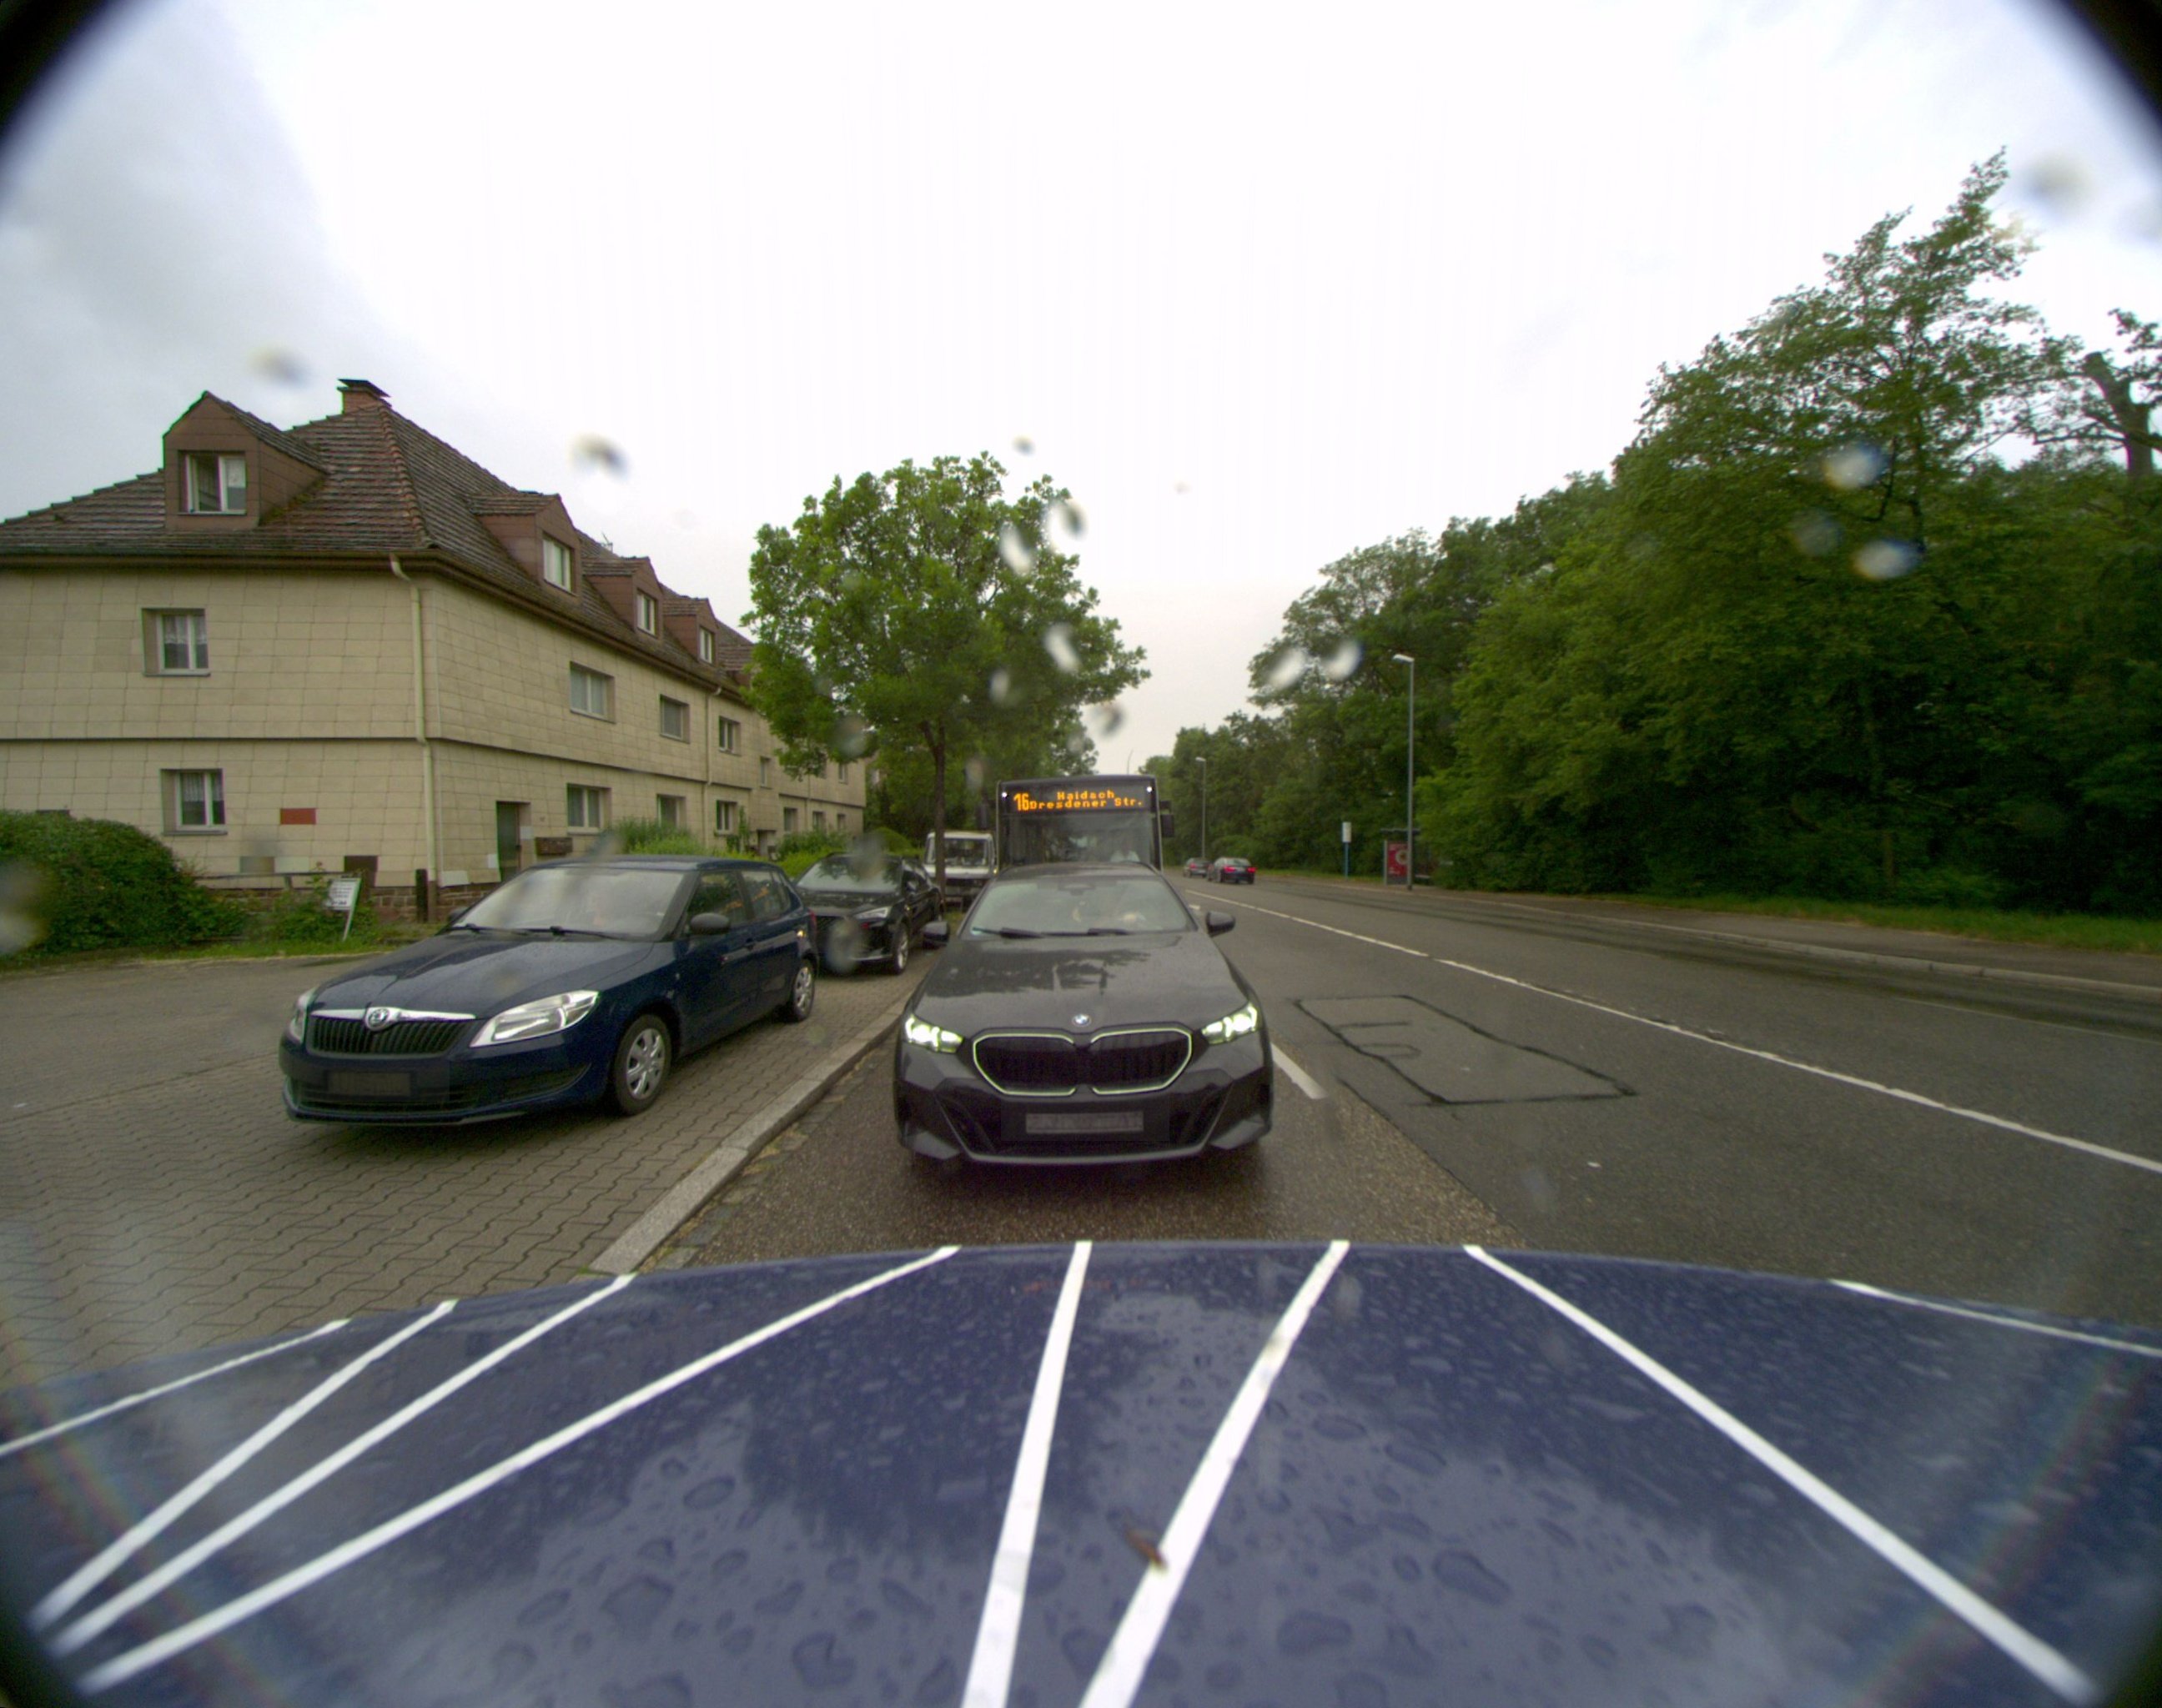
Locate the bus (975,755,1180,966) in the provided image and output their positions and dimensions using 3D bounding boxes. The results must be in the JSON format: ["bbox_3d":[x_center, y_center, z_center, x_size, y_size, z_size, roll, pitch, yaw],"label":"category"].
[{"bbox_3d":[0.075,0.043,15.336,2.767,2.858,9.403,-2,1,2],"label":"bus"}]

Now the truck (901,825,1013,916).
[{"bbox_3d":[-3.223,0.390,21.051,1.998,2.184,5.756,0,0,2],"label":"truck"}]

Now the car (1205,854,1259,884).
[{"bbox_3d":[8.599,0.817,43.692,1.915,1.445,4.947,3,1,-1],"label":"car"}]

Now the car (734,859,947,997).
[{"bbox_3d":[-3.069,0.850,10.574,1.720,1.455,3.999,1,1,-1],"label":"car"}]

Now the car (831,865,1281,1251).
[{"bbox_3d":[-0.082,0.928,5.472,1.882,1.520,4.316,-3,0,1],"label":"car"}]

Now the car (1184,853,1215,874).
[{"bbox_3d":[8.678,0.680,55.921,1.598,1.420,3.905,1,0,-1],"label":"car"}]

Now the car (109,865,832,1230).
[{"bbox_3d":[-3.264,0.858,5.241,1.720,1.416,3.999,1,1,1],"label":"car"}]
